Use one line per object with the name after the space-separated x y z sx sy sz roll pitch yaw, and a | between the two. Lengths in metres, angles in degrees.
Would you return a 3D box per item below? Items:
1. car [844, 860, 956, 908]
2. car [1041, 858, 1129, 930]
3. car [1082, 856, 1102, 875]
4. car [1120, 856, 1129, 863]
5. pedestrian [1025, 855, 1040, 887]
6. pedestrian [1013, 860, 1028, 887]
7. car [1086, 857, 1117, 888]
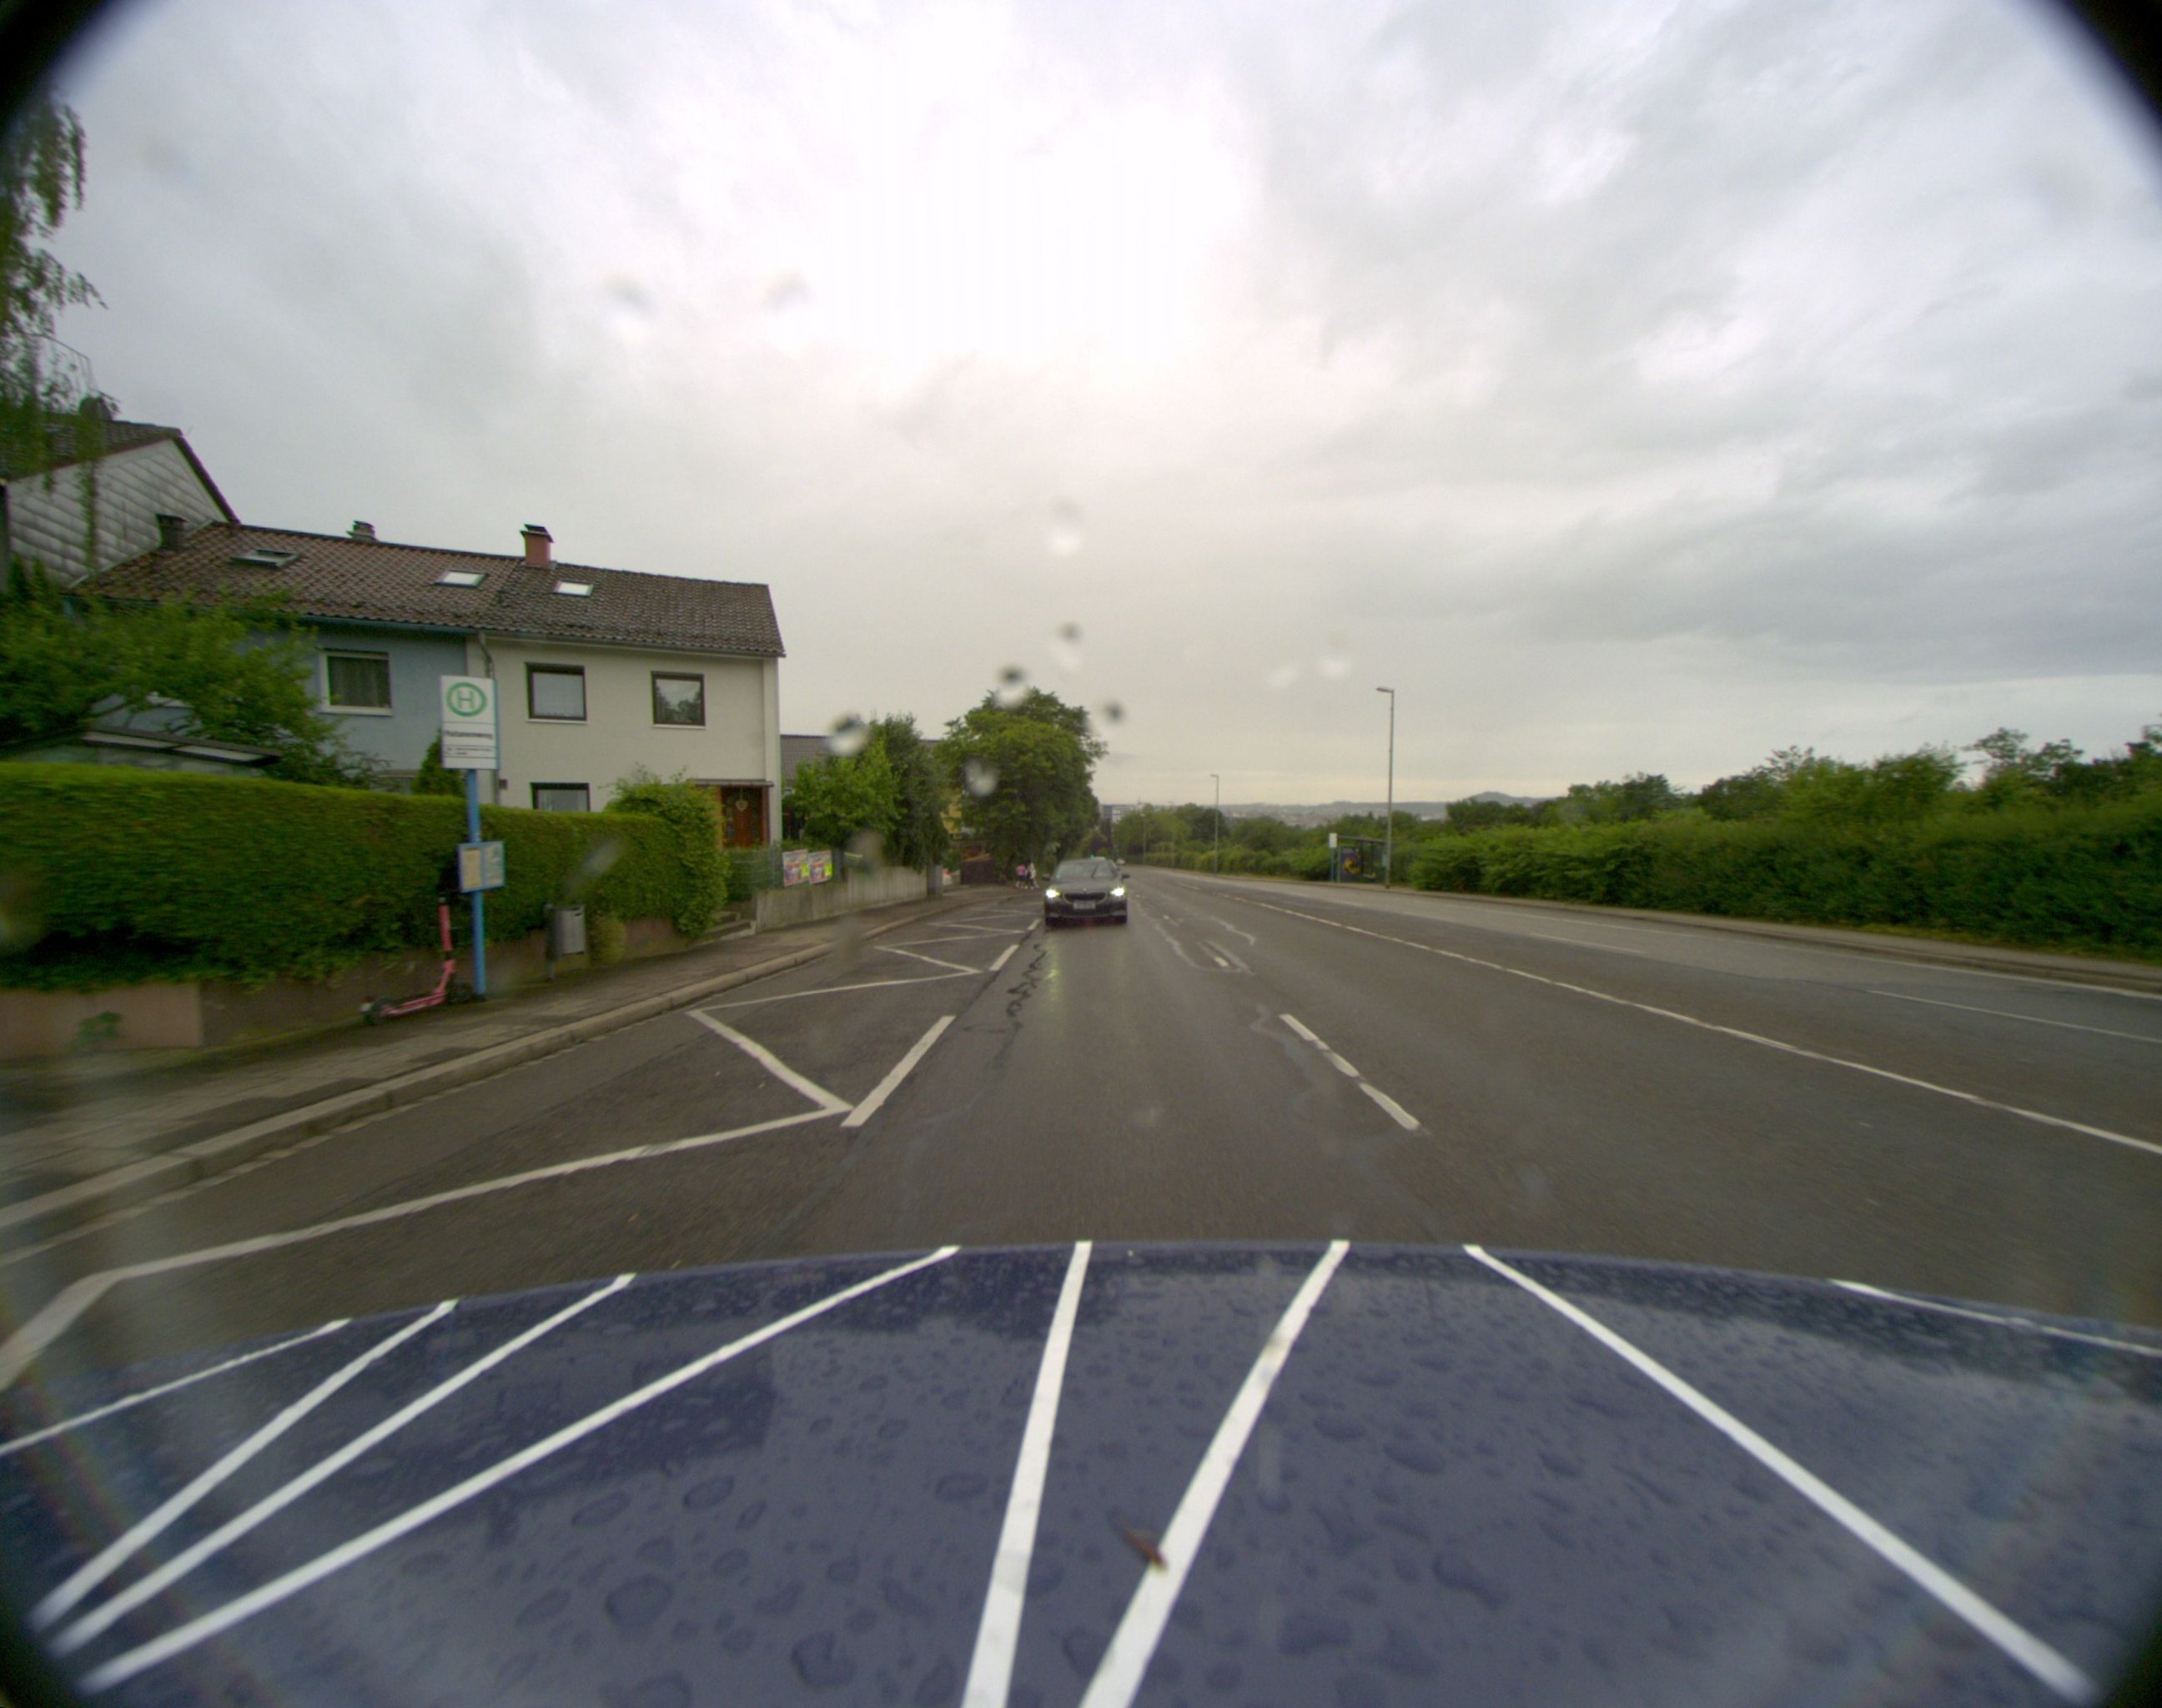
-8.314 1.335 35.028 4.607 1.413 1.786 -9 5 -28 | car
0.008 0.877 18.563 1.846 1.371 4.281 -3 1 -2 | car
1.048 1.041 68.857 1.702 1.670 4.284 0 0 2 | car
9.729 1.206 170.610 1.760 1.559 4.000 1 0 0 | car
-2.442 0.853 38.395 0.611 1.584 0.646 0 0 10 | pedestrian
-3.044 0.973 38.502 0.603 1.347 0.646 0 0 10 | pedestrian
1.088 0.931 39.847 1.550 1.505 4.283 0 0 2 | car
